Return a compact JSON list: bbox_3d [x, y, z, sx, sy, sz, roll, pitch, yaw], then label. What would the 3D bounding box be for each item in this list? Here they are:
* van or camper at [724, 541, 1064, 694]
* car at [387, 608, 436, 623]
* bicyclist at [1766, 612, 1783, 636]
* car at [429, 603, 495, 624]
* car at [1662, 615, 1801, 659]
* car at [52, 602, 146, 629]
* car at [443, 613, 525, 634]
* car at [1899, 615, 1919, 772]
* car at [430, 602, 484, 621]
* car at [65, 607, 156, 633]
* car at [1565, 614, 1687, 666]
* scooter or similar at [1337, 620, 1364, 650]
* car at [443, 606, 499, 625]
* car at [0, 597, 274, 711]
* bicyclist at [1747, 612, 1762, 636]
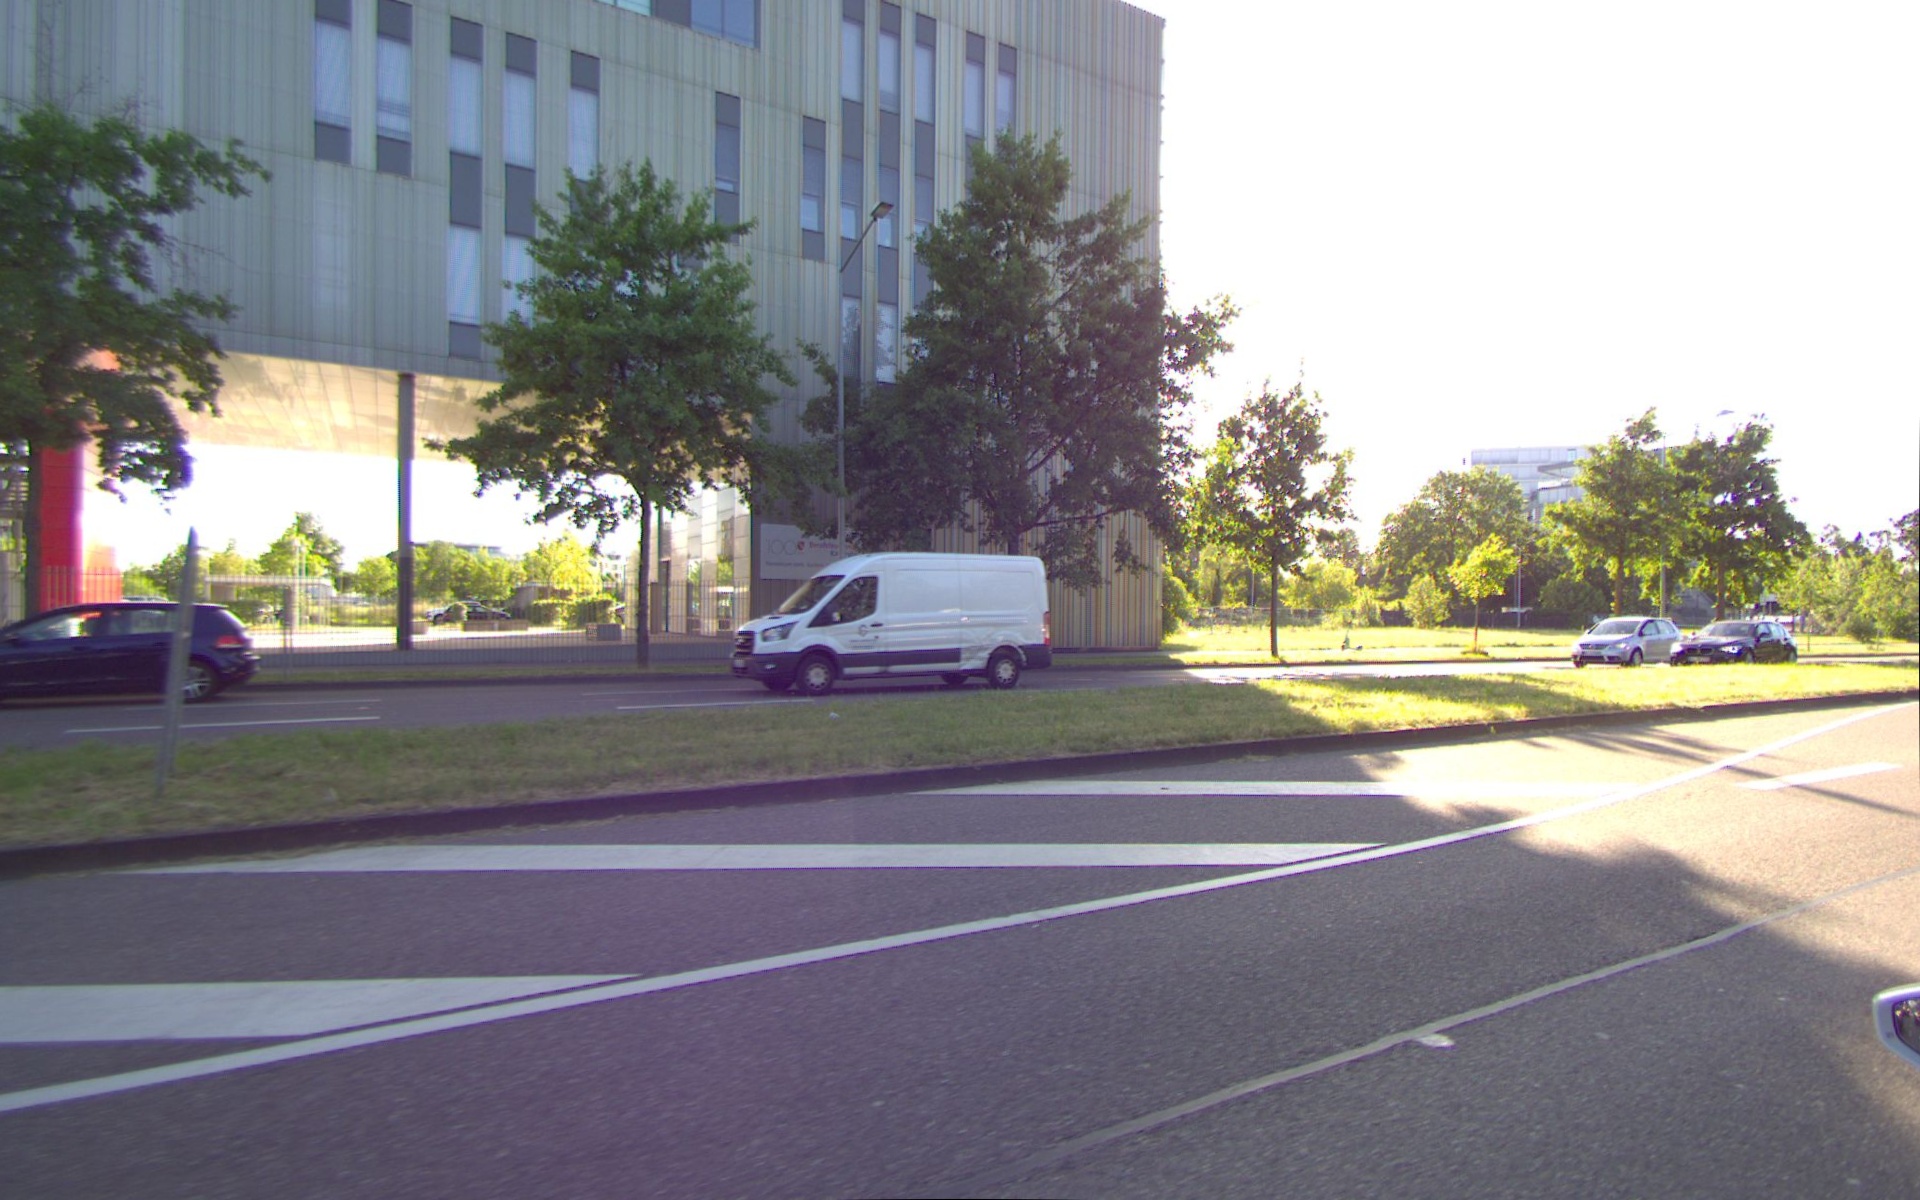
[{"bbox_3d":[-1.082,0.311,18.208,5.924,2.400,1.984,0,-1,-31],"label":"van or camper"},{"bbox_3d":[-44.439,1.250,81.397,3.405,1.209,1.358,1,0,-33],"label":"car"},{"bbox_3d":[48.440,1.422,59.766,0.739,1.411,0.559,1,0,-32],"label":"bicyclist"},{"bbox_3d":[-28.916,0.787,58.338,3.402,1.233,1.423,1,0,-30],"label":"car"},{"bbox_3d":[21.540,1.002,28.010,4.129,1.126,1.817,1,0,-33],"label":"car"},{"bbox_3d":[-42.735,0.750,49.955,3.346,1.275,1.355,0,0,-32],"label":"car"},{"bbox_3d":[-22.229,1.103,46.928,3.402,0.926,1.423,1,0,-30],"label":"car"},{"bbox_3d":[10.913,0.879,9.618,4.027,1.428,1.769,0,1,-31],"label":"car"},{"bbox_3d":[-36.580,0.841,73.026,3.405,1.402,1.422,1,0,-33],"label":"car"},{"bbox_3d":[-43.362,1.021,51.349,3.346,1.275,1.355,0,0,-32],"label":"car"},{"bbox_3d":[20.535,1.197,30.937,4.005,1.496,1.679,1,0,-33],"label":"car"},{"bbox_3d":[15.431,1.367,39.658,1.312,1.164,0.230,1,0,-31],"label":"scooter or similar"},{"bbox_3d":[-33.545,1.057,68.938,3.402,1.233,1.423,1,0,-30],"label":"car"},{"bbox_3d":[-12.448,0.726,14.620,3.982,1.528,1.542,0,0,-32],"label":"car"},{"bbox_3d":[48.032,1.442,60.712,0.835,1.413,0.479,1,0,-32],"label":"bicyclist"}]
